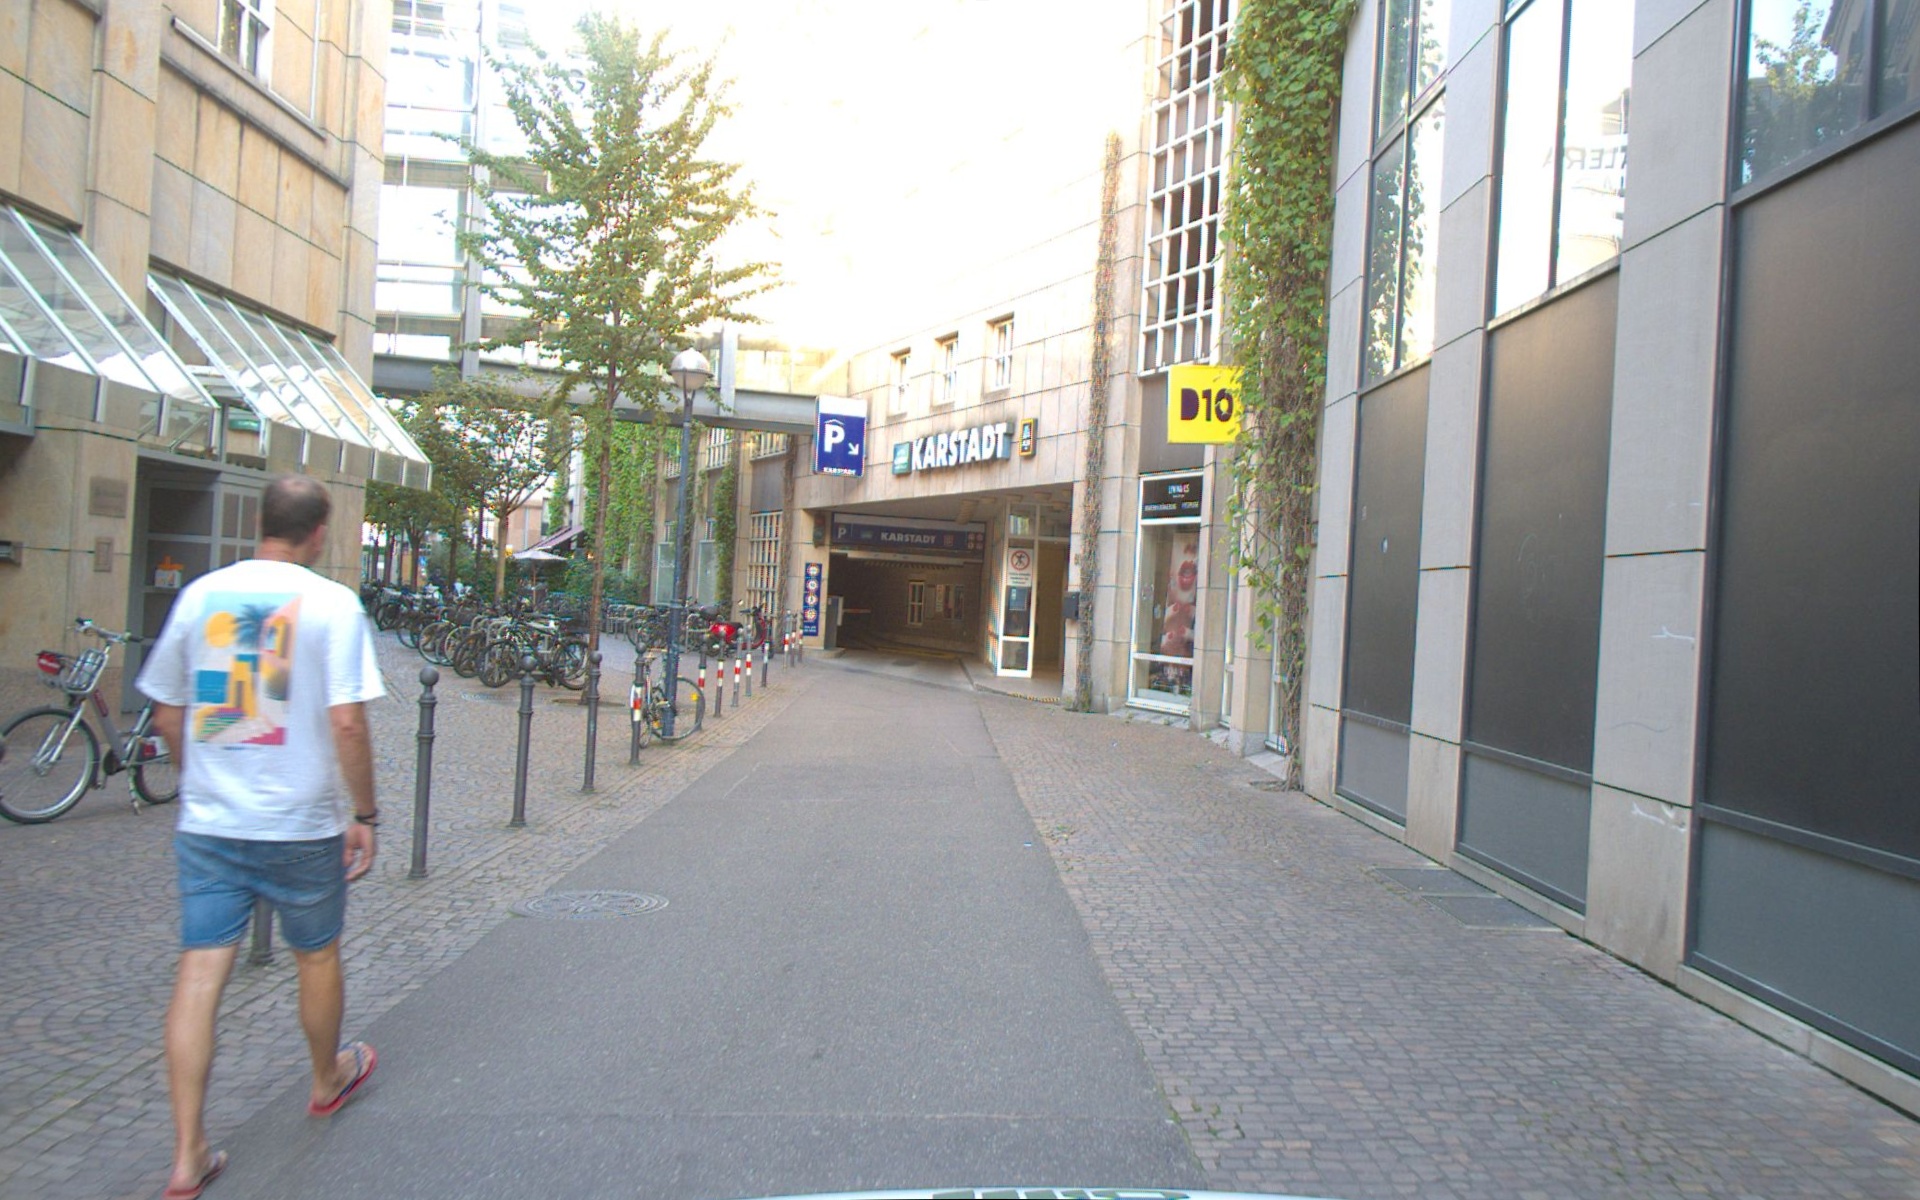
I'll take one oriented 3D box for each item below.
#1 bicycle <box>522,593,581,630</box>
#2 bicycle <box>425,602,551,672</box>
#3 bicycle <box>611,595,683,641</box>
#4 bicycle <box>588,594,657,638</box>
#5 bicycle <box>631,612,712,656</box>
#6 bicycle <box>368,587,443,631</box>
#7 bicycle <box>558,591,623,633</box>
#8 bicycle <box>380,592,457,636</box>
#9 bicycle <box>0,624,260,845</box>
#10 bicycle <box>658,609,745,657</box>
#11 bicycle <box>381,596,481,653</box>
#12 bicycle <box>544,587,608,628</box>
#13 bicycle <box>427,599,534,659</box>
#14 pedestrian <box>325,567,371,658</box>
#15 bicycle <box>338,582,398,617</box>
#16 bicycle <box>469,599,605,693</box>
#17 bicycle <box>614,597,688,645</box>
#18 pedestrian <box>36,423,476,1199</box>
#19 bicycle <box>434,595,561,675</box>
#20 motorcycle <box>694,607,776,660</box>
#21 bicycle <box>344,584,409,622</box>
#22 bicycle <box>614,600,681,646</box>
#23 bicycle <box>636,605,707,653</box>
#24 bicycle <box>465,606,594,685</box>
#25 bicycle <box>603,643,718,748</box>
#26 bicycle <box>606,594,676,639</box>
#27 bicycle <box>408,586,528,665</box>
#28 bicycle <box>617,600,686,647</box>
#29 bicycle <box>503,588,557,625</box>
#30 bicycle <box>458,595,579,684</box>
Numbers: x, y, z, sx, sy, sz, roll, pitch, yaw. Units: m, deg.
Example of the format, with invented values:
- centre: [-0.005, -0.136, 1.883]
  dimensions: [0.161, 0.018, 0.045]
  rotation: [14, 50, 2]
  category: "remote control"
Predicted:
- centre: [-13.153, 0.372, 53.274]
  dimensions: [1.747, 1.134, 0.540]
  rotation: [2, 0, -20]
  category: "bicycle"
- centre: [-7.599, 0.595, 26.669]
  dimensions: [1.869, 1.070, 0.530]
  rotation: [2, 0, -25]
  category: "bicycle"
- centre: [-8.169, 0.473, 43.205]
  dimensions: [1.749, 1.134, 0.539]
  rotation: [3, 0, -23]
  category: "bicycle"
- centre: [-9.260, 0.449, 45.349]
  dimensions: [1.749, 1.134, 0.539]
  rotation: [2, 0, -23]
  category: "bicycle"
- centre: [-6.569, 0.776, 37.696]
  dimensions: [1.749, 0.919, 0.460]
  rotation: [2, 0, -23]
  category: "bicycle"
- centre: [-14.089, 0.229, 42.020]
  dimensions: [1.757, 1.037, 0.477]
  rotation: [2, 0, -25]
  category: "bicycle"
- centre: [-10.630, 0.359, 47.598]
  dimensions: [1.749, 1.134, 0.539]
  rotation: [2, 0, -23]
  category: "bicycle"
- centre: [-13.499, 0.341, 41.206]
  dimensions: [1.757, 1.037, 0.477]
  rotation: [2, 0, -25]
  category: "bicycle"
- centre: [-4.988, 0.739, 9.843]
  dimensions: [0.510, 1.157, 1.766]
  rotation: [2, 0, 14]
  category: "bicycle"
- centre: [-5.756, 0.739, 36.878]
  dimensions: [1.822, 0.999, 0.460]
  rotation: [2, 0, -23]
  category: "bicycle"
- centre: [-10.477, 0.489, 32.772]
  dimensions: [1.801, 1.061, 0.530]
  rotation: [2, 0, -25]
  category: "bicycle"
- centre: [-11.459, 0.228, 49.370]
  dimensions: [1.749, 1.134, 0.539]
  rotation: [2, 0, -23]
  category: "bicycle"
- centre: [-9.002, 0.545, 31.072]
  dimensions: [1.852, 1.061, 0.530]
  rotation: [2, 0, -25]
  category: "bicycle"
- centre: [-11.060, 0.226, 29.902]
  dimensions: [0.689, 1.610, 0.714]
  rotation: [2, 0, -24]
  category: "pedestrian"
- centre: [-20.168, -0.014, 56.379]
  dimensions: [1.879, 1.131, 0.477]
  rotation: [2, 0, -25]
  category: "bicycle"
- centre: [-5.896, 0.641, 23.081]
  dimensions: [1.743, 1.252, 0.530]
  rotation: [2, 0, -25]
  category: "bicycle"
- centre: [-7.878, 0.540, 42.144]
  dimensions: [1.749, 1.134, 0.539]
  rotation: [2, 0, -23]
  category: "bicycle"
- centre: [-1.791, 0.522, 4.352]
  dimensions: [0.727, 1.854, 0.878]
  rotation: [2, 0, -2]
  category: "pedestrian"
- centre: [-7.305, 0.556, 26.150]
  dimensions: [1.848, 1.198, 0.530]
  rotation: [2, 0, -25]
  category: "bicycle"
- centre: [-4.809, 0.712, 35.303]
  dimensions: [1.640, 1.069, 0.460]
  rotation: [2, 0, -23]
  category: "motorcycle"
- centre: [-18.448, 0.083, 52.328]
  dimensions: [1.879, 1.131, 0.477]
  rotation: [2, 0, -25]
  category: "bicycle"
- centre: [-7.740, 0.569, 40.975]
  dimensions: [1.518, 1.067, 0.571]
  rotation: [2, 0, -23]
  category: "bicycle"
- centre: [-6.742, 0.679, 38.640]
  dimensions: [1.518, 1.067, 0.571]
  rotation: [2, 0, -23]
  category: "bicycle"
- centre: [-6.562, 0.693, 25.225]
  dimensions: [1.813, 1.142, 0.530]
  rotation: [2, 0, -25]
  category: "bicycle"
- centre: [-3.018, 0.941, 16.818]
  dimensions: [0.482, 0.955, 1.660]
  rotation: [4, 0, 13]
  category: "bicycle"
- centre: [-8.567, 0.447, 44.393]
  dimensions: [1.749, 1.134, 0.539]
  rotation: [2, 0, -23]
  category: "bicycle"
- centre: [-8.125, 0.429, 27.322]
  dimensions: [1.809, 1.246, 0.530]
  rotation: [2, 0, -25]
  category: "bicycle"
- centre: [-7.391, 0.562, 39.592]
  dimensions: [1.518, 1.067, 0.571]
  rotation: [2, 0, -23]
  category: "bicycle"
- centre: [-15.175, 0.238, 58.388]
  dimensions: [1.749, 1.211, 0.582]
  rotation: [2, 0, -23]
  category: "bicycle"
- centre: [-6.505, 0.583, 24.393]
  dimensions: [1.632, 1.252, 0.530]
  rotation: [2, 0, -25]
  category: "bicycle"
